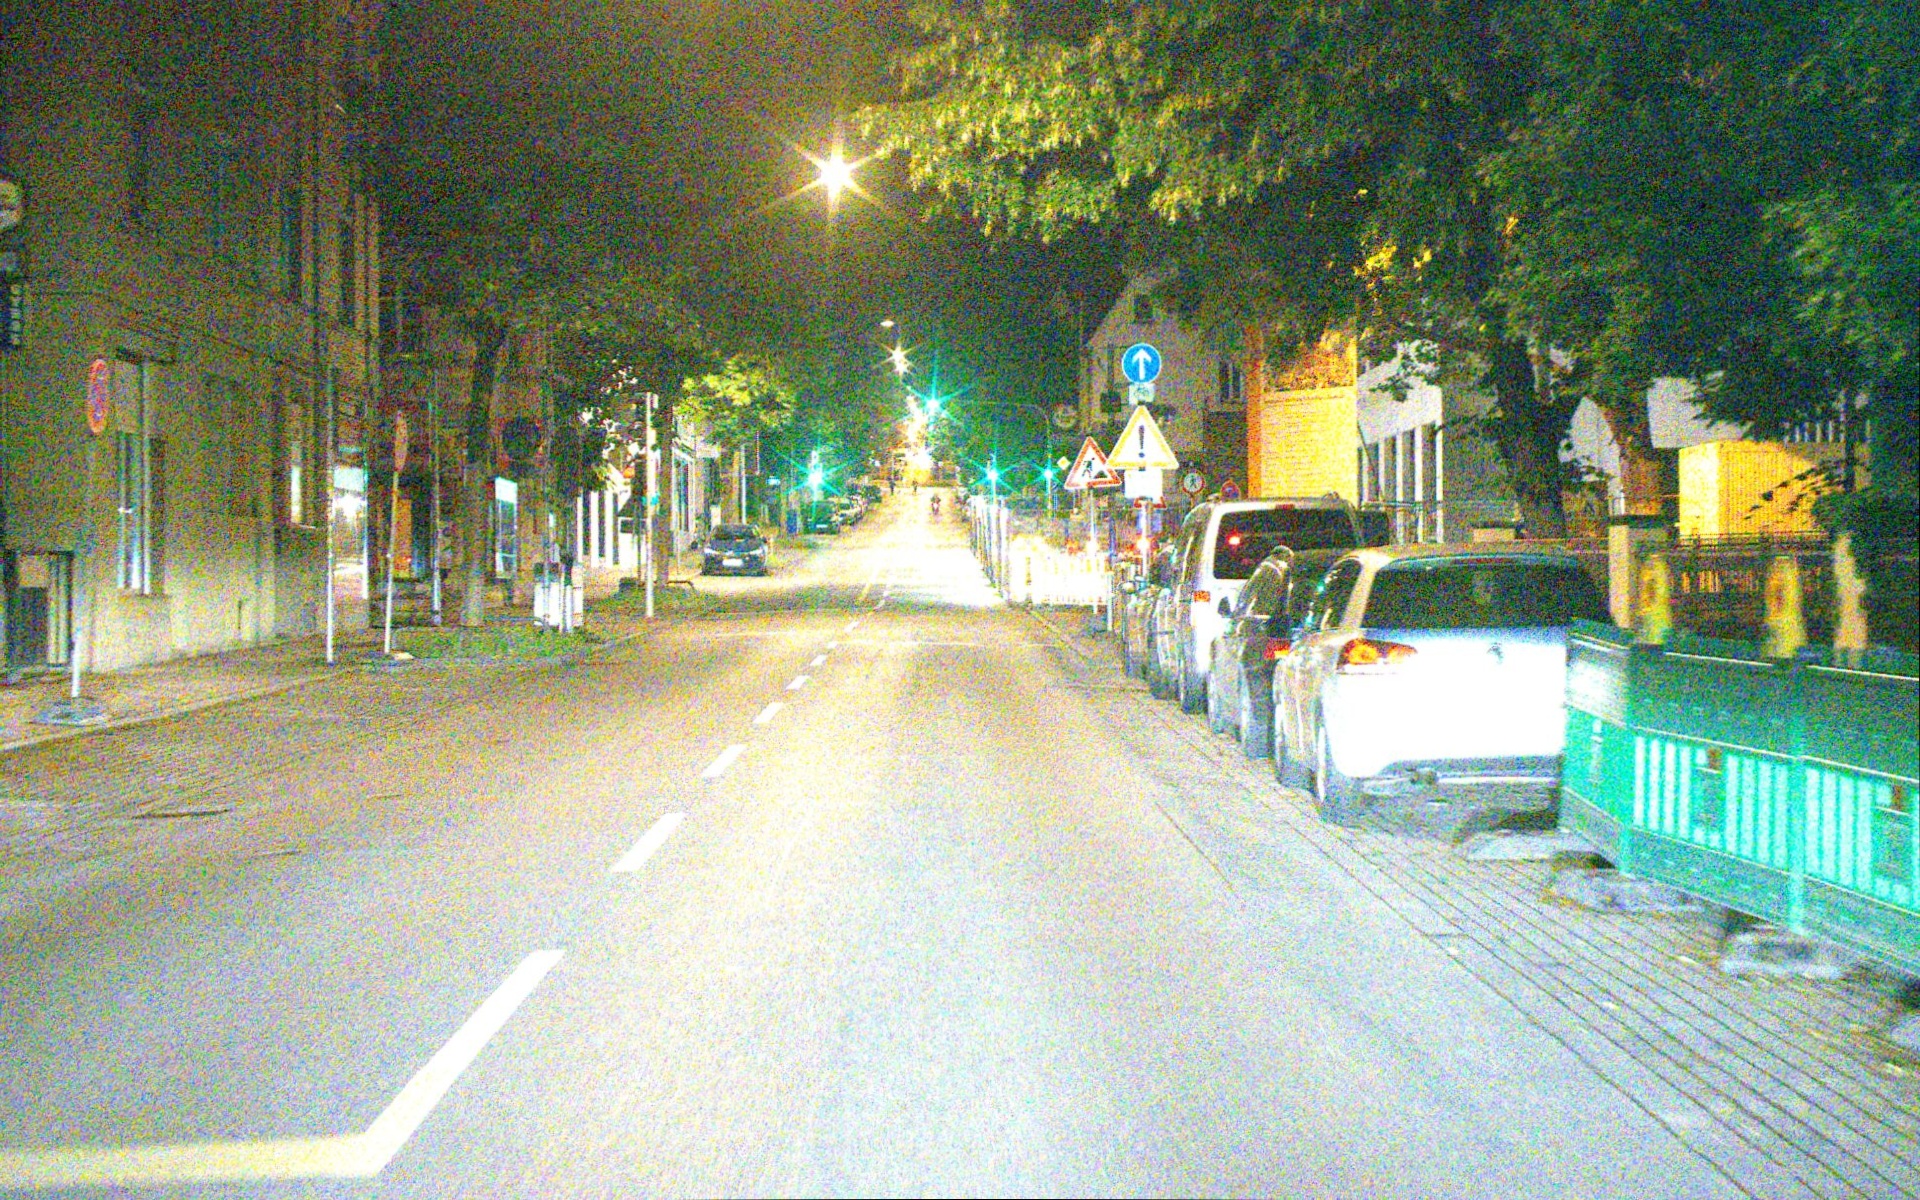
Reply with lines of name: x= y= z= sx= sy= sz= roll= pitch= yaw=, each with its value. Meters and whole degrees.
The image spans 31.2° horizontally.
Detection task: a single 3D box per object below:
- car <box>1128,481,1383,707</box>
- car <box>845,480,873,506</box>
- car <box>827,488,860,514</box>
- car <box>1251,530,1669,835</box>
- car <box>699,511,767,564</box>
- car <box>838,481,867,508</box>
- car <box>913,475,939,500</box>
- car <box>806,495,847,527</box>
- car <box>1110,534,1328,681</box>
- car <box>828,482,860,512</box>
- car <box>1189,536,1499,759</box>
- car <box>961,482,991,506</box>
car: x=2.558 y=-0.098 z=30.669 sx=1.735 sy=1.848 sz=4.317 roll=-1 pitch=1 yaw=-2
car: x=-7.326 y=-7.768 z=249.409 sx=1.873 sy=1.808 sz=4.205 roll=0 pitch=2 yaw=1
car: x=-6.999 y=-5.968 z=206.941 sx=1.873 sy=1.539 sz=4.205 roll=0 pitch=2 yaw=-1
car: x=2.727 y=0.381 z=19.580 sx=1.739 sy=1.472 sz=4.000 roll=-3 pitch=1 yaw=0
car: x=-6.418 y=-1.788 z=97.576 sx=1.671 sy=1.438 sz=4.205 roll=0 pitch=2 yaw=-1
car: x=-7.228 y=-7.128 z=231.462 sx=1.873 sy=1.808 sz=4.205 roll=0 pitch=2 yaw=-1
car: x=-2.464 y=-8.233 z=250.578 sx=1.873 sy=1.808 sz=4.205 roll=0 pitch=2 yaw=1
car: x=-6.567 y=-4.382 z=169.743 sx=1.873 sy=1.539 sz=4.205 roll=0 pitch=2 yaw=-1
car: x=2.622 y=0.031 z=35.703 sx=1.727 sy=1.414 sz=4.324 roll=0 pitch=1 yaw=-3
car: x=-7.165 y=-6.384 z=213.173 sx=1.873 sy=1.808 sz=4.205 roll=0 pitch=2 yaw=-1
car: x=2.683 y=0.271 z=24.879 sx=1.686 sy=1.416 sz=4.444 roll=-1 pitch=1 yaw=0
car: x=1.020 y=-6.802 z=220.190 sx=1.873 sy=1.539 sz=4.205 roll=0 pitch=2 yaw=-1
